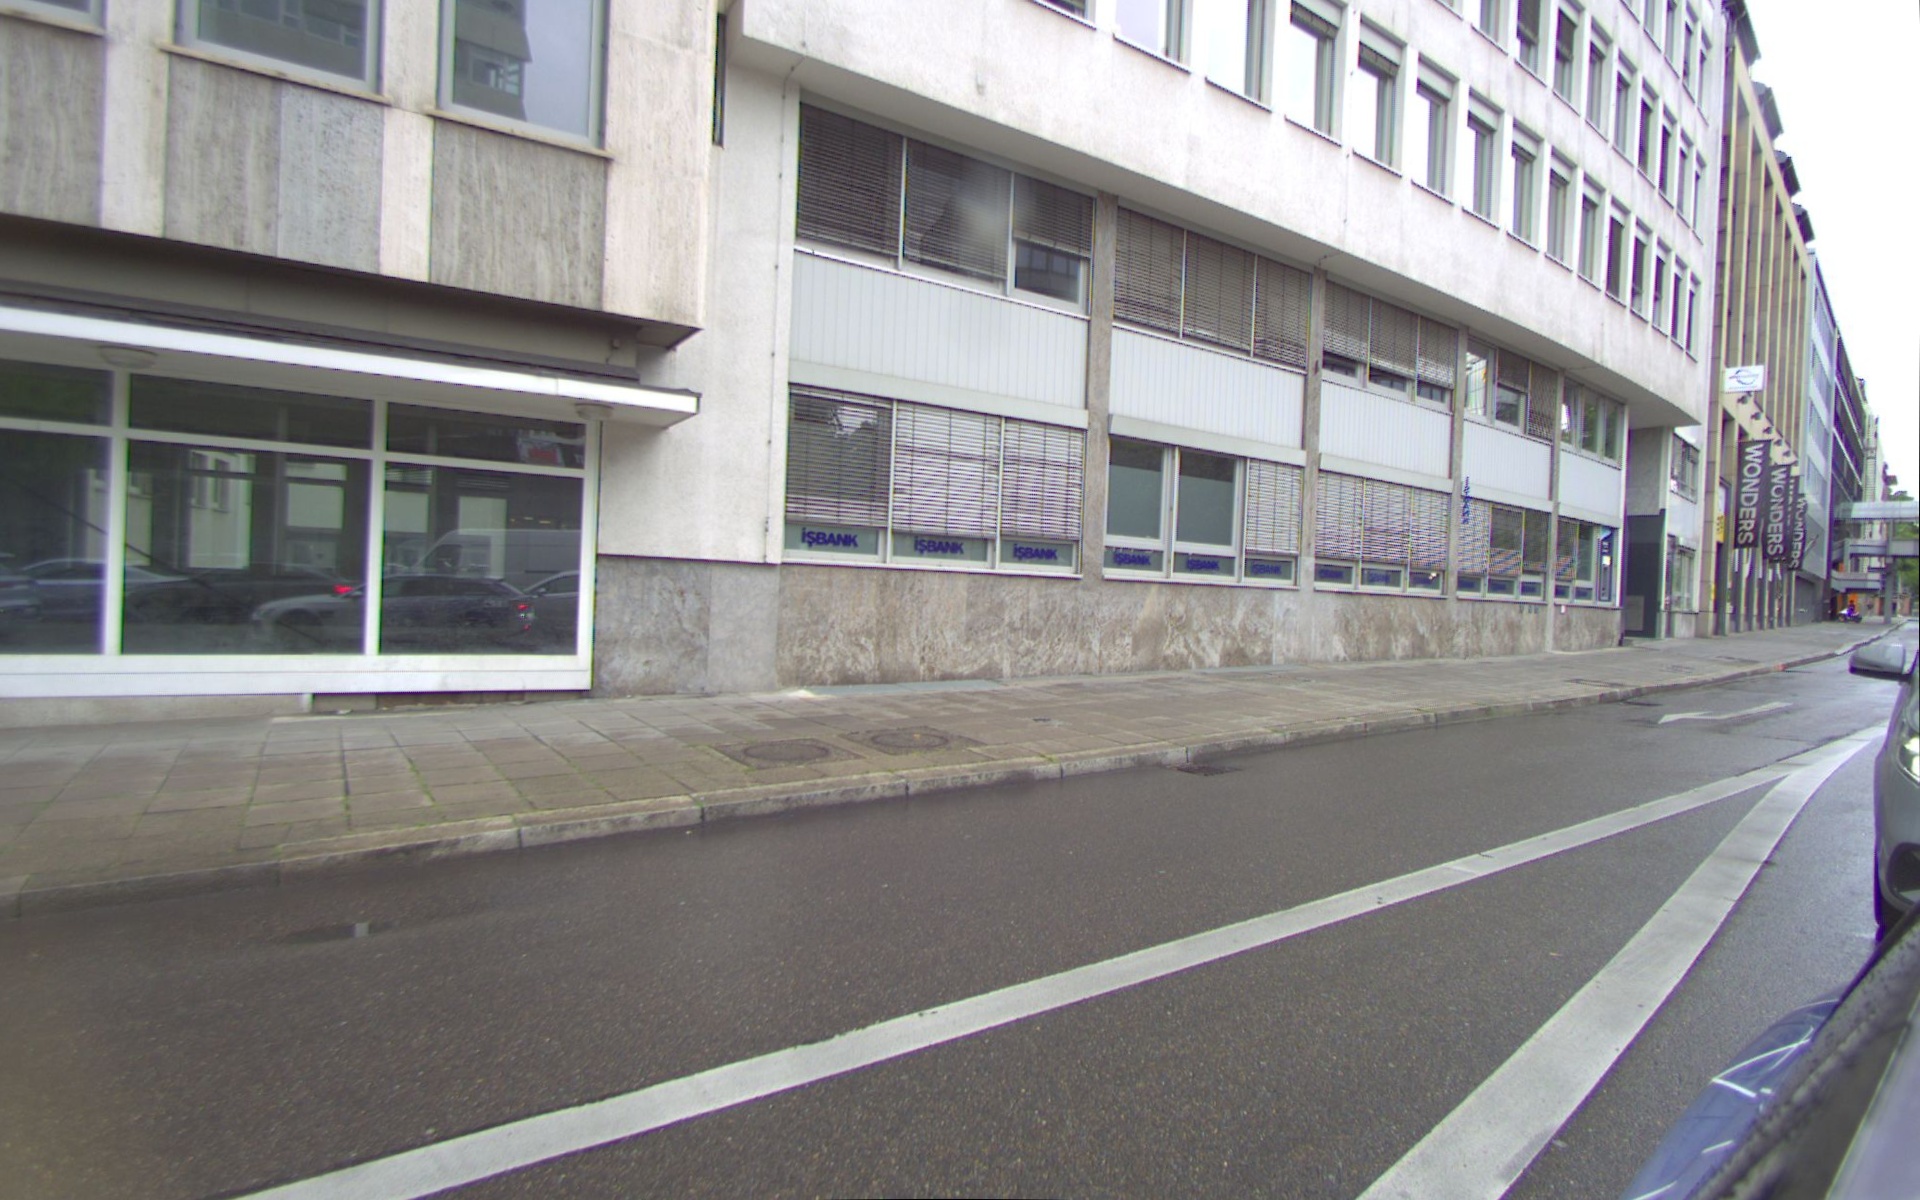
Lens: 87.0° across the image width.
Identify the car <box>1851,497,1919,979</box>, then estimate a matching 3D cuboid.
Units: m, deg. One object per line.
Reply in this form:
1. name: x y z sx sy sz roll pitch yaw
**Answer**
1. car: 6.070 0.551 5.043 4.940 1.879 1.914 0 0 -42
